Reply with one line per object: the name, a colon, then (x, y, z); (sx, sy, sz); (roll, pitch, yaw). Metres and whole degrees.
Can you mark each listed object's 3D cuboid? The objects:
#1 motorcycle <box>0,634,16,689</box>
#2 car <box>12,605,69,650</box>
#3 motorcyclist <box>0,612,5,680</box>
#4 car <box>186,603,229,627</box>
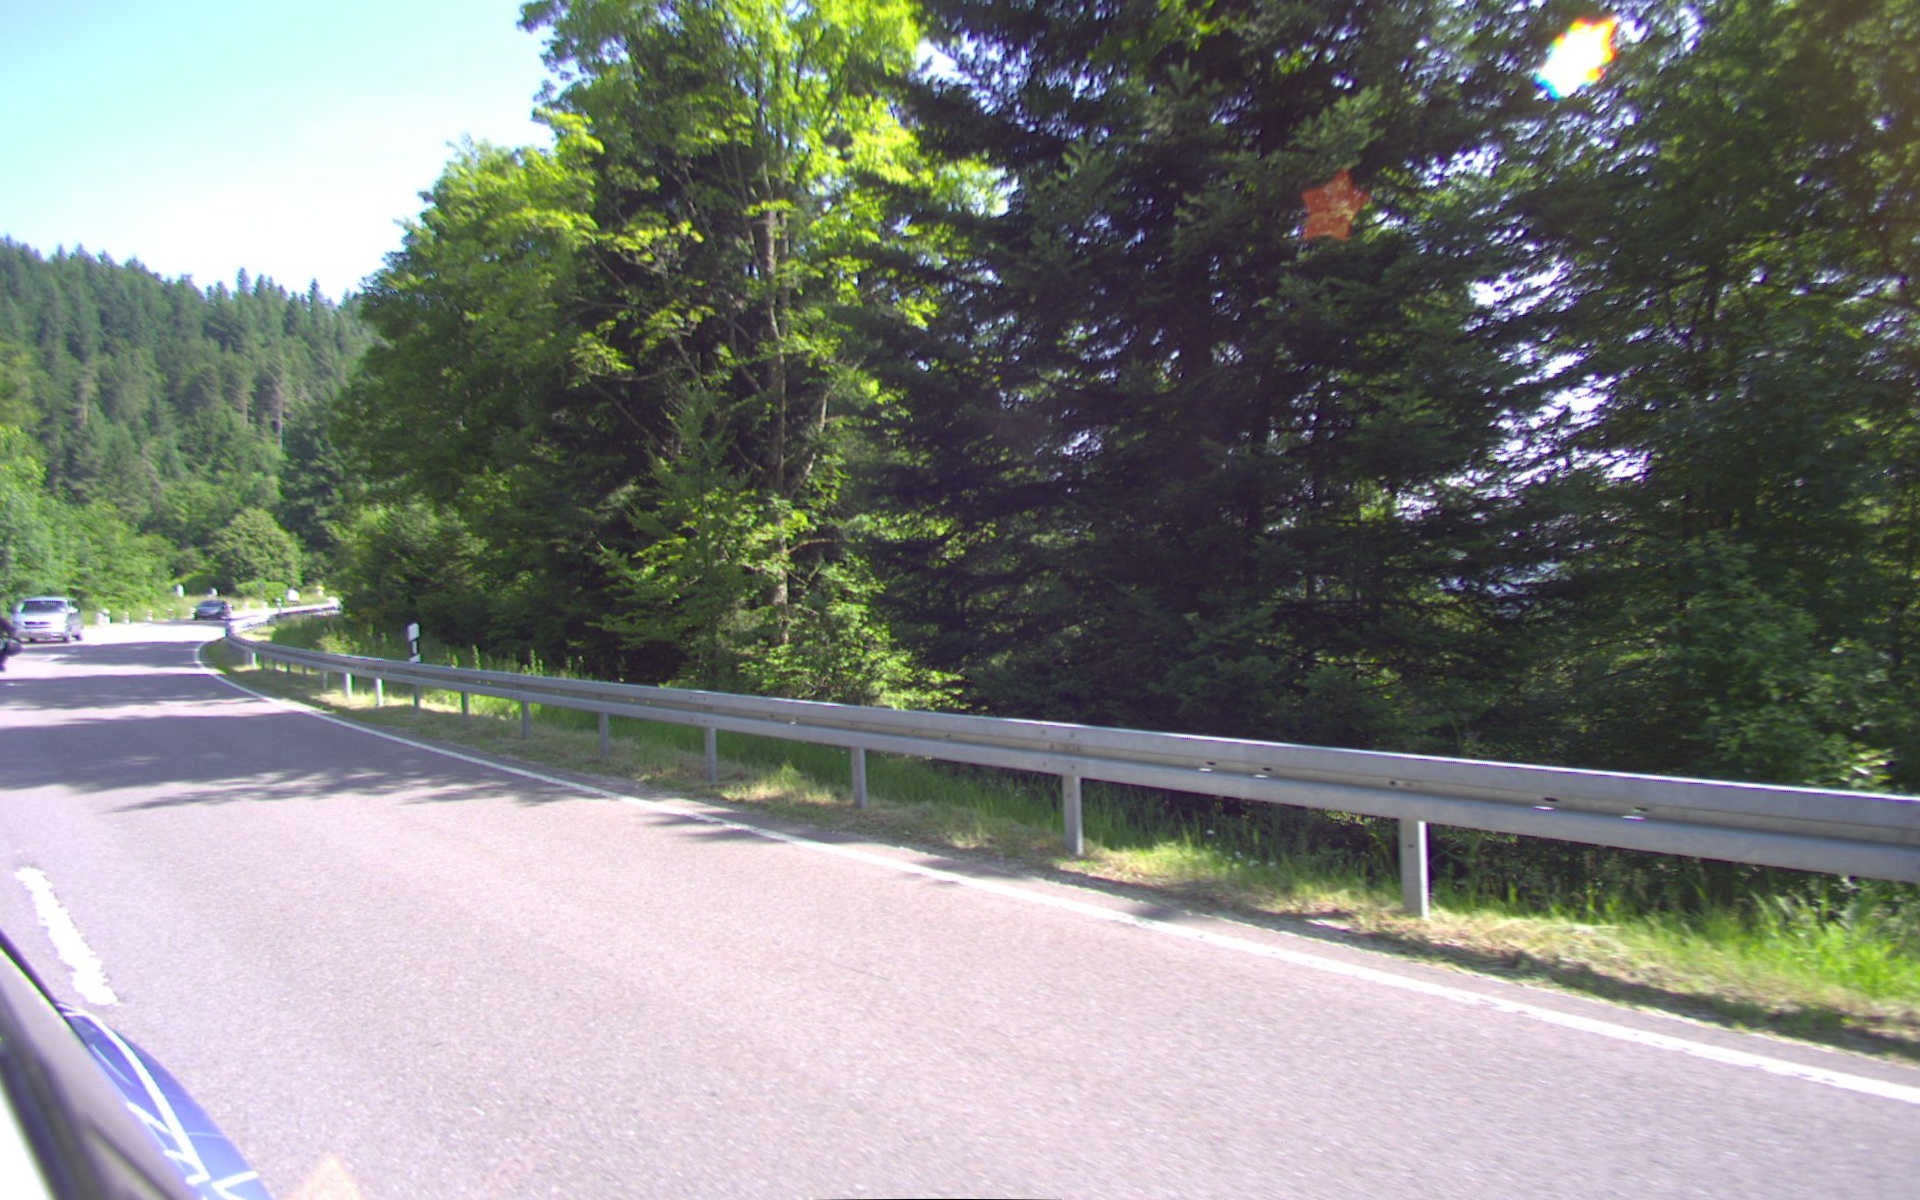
motorcycle: (-20.958, 1.312, 21.650); (1.093, 1.132, 1.963); (0, -1, -42)
car: (-38.588, 1.129, 42.535); (1.628, 1.773, 3.801); (1, 0, -40)
motorcyclist: (-21.000, 0.994, 21.703); (0.706, 1.441, 1.000); (-2, 1, -42)
car: (-56.200, 1.076, 75.622); (1.965, 1.655, 4.013); (-1, 1, -28)
